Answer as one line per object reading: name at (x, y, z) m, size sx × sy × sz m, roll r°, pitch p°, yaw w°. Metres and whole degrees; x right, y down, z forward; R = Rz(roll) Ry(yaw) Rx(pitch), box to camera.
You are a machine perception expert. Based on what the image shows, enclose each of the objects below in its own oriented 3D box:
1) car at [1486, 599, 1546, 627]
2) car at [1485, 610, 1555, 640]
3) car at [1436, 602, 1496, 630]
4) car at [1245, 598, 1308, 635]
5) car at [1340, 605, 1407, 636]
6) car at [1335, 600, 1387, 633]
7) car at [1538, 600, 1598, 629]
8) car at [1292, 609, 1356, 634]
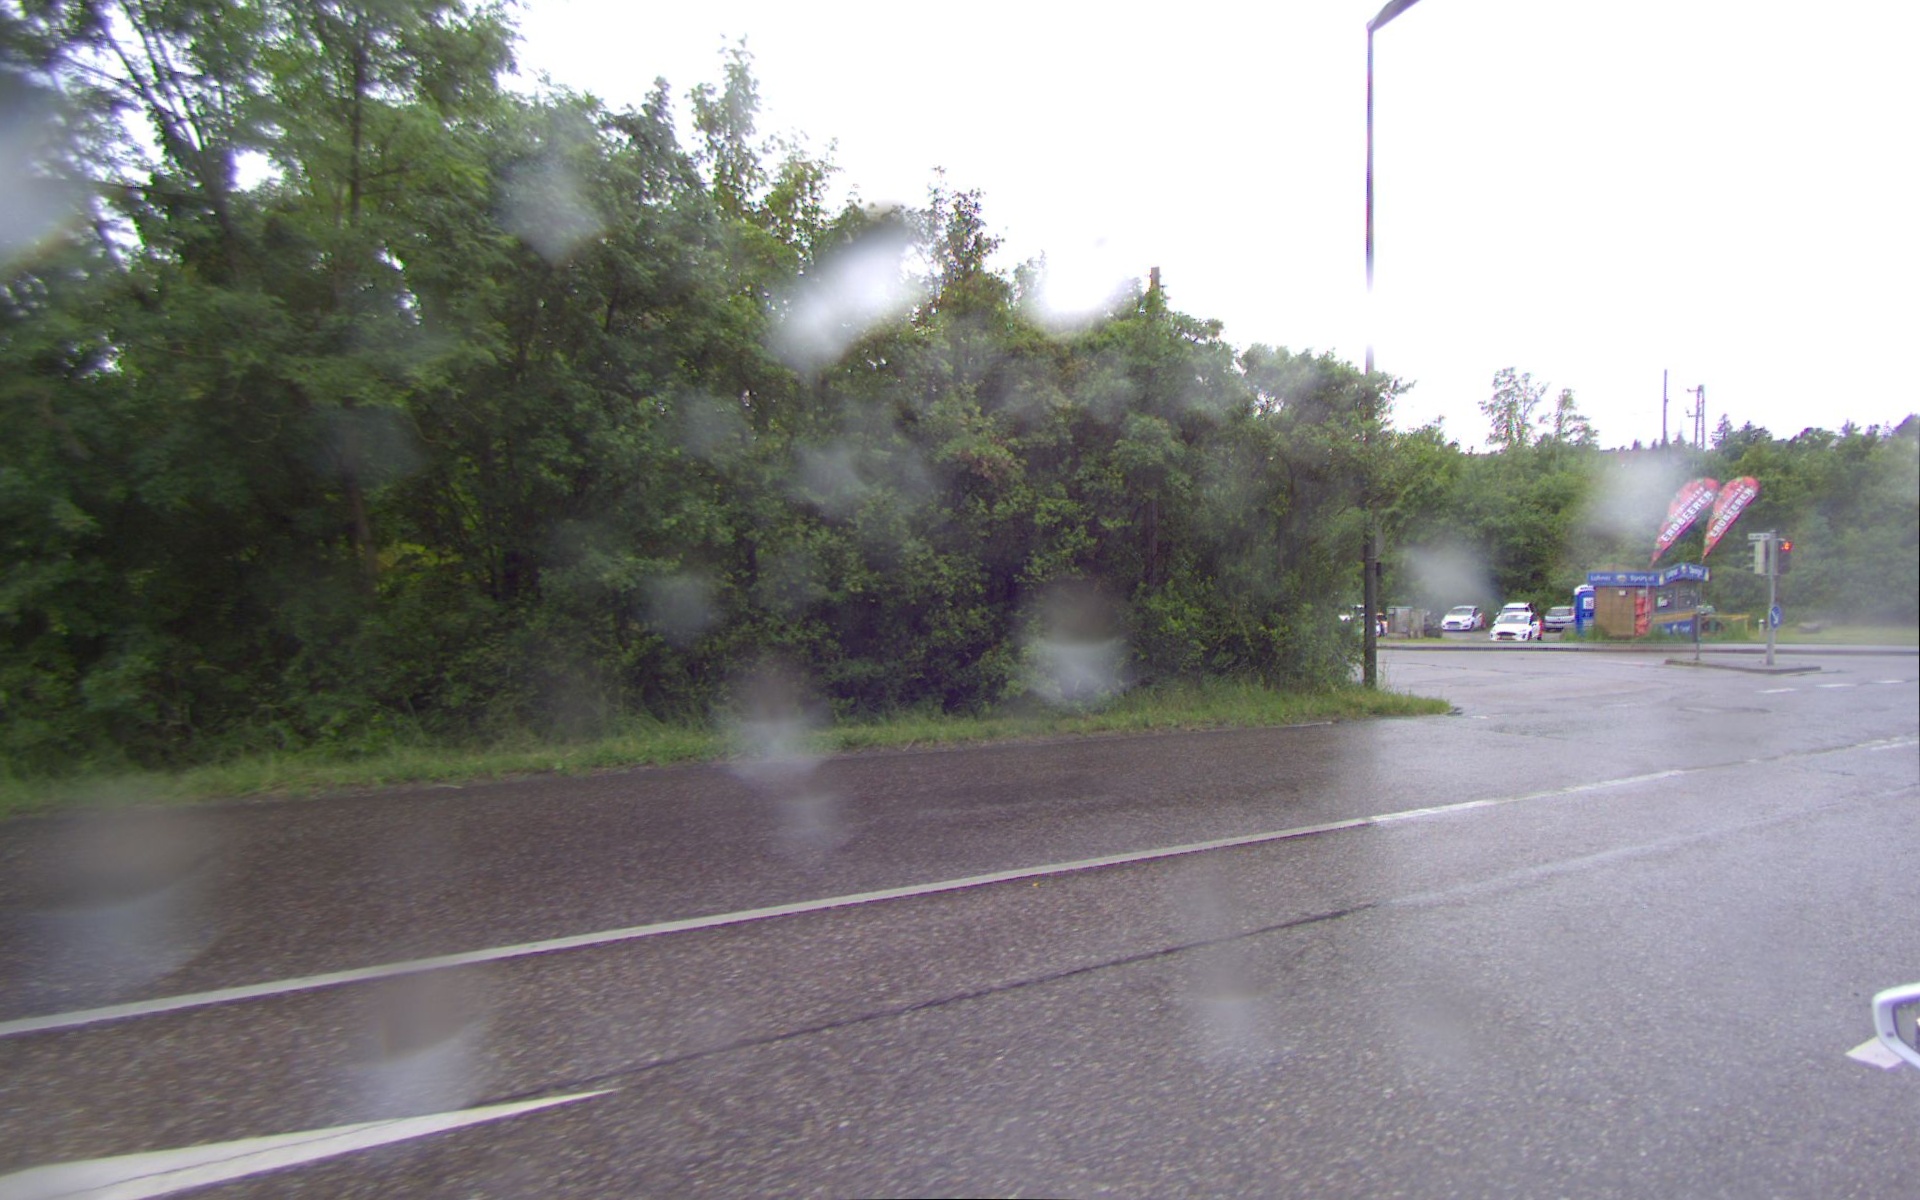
car at (32.356, 0.759, 58.416) m, size 3.972 × 1.606 × 1.975 m, roll 1°, pitch -1°, yaw -43°
car at (27.762, 1.245, 49.716) m, size 4.868 × 1.358 × 1.636 m, roll 2°, pitch 0°, yaw -43°
car at (30.330, 0.961, 60.211) m, size 3.972 × 1.606 × 1.974 m, roll 2°, pitch 0°, yaw -43°
car at (18.121, 0.952, 57.417) m, size 1.971 × 1.975 × 3.978 m, roll 1°, pitch 0°, yaw 42°
car at (22.441, 1.126, 54.456) m, size 3.880 × 1.606 × 1.918 m, roll 2°, pitch 0°, yaw -43°
car at (26.329, 1.068, 65.855) m, size 1.916 × 2.041 × 3.846 m, roll 1°, pitch 1°, yaw 43°
car at (34.652, 0.816, 57.236) m, size 3.972 × 1.606 × 1.975 m, roll 1°, pitch -1°, yaw -43°
car at (20.387, 1.219, 56.174) m, size 3.972 × 1.327 × 1.734 m, roll 2°, pitch 0°, yaw -43°
